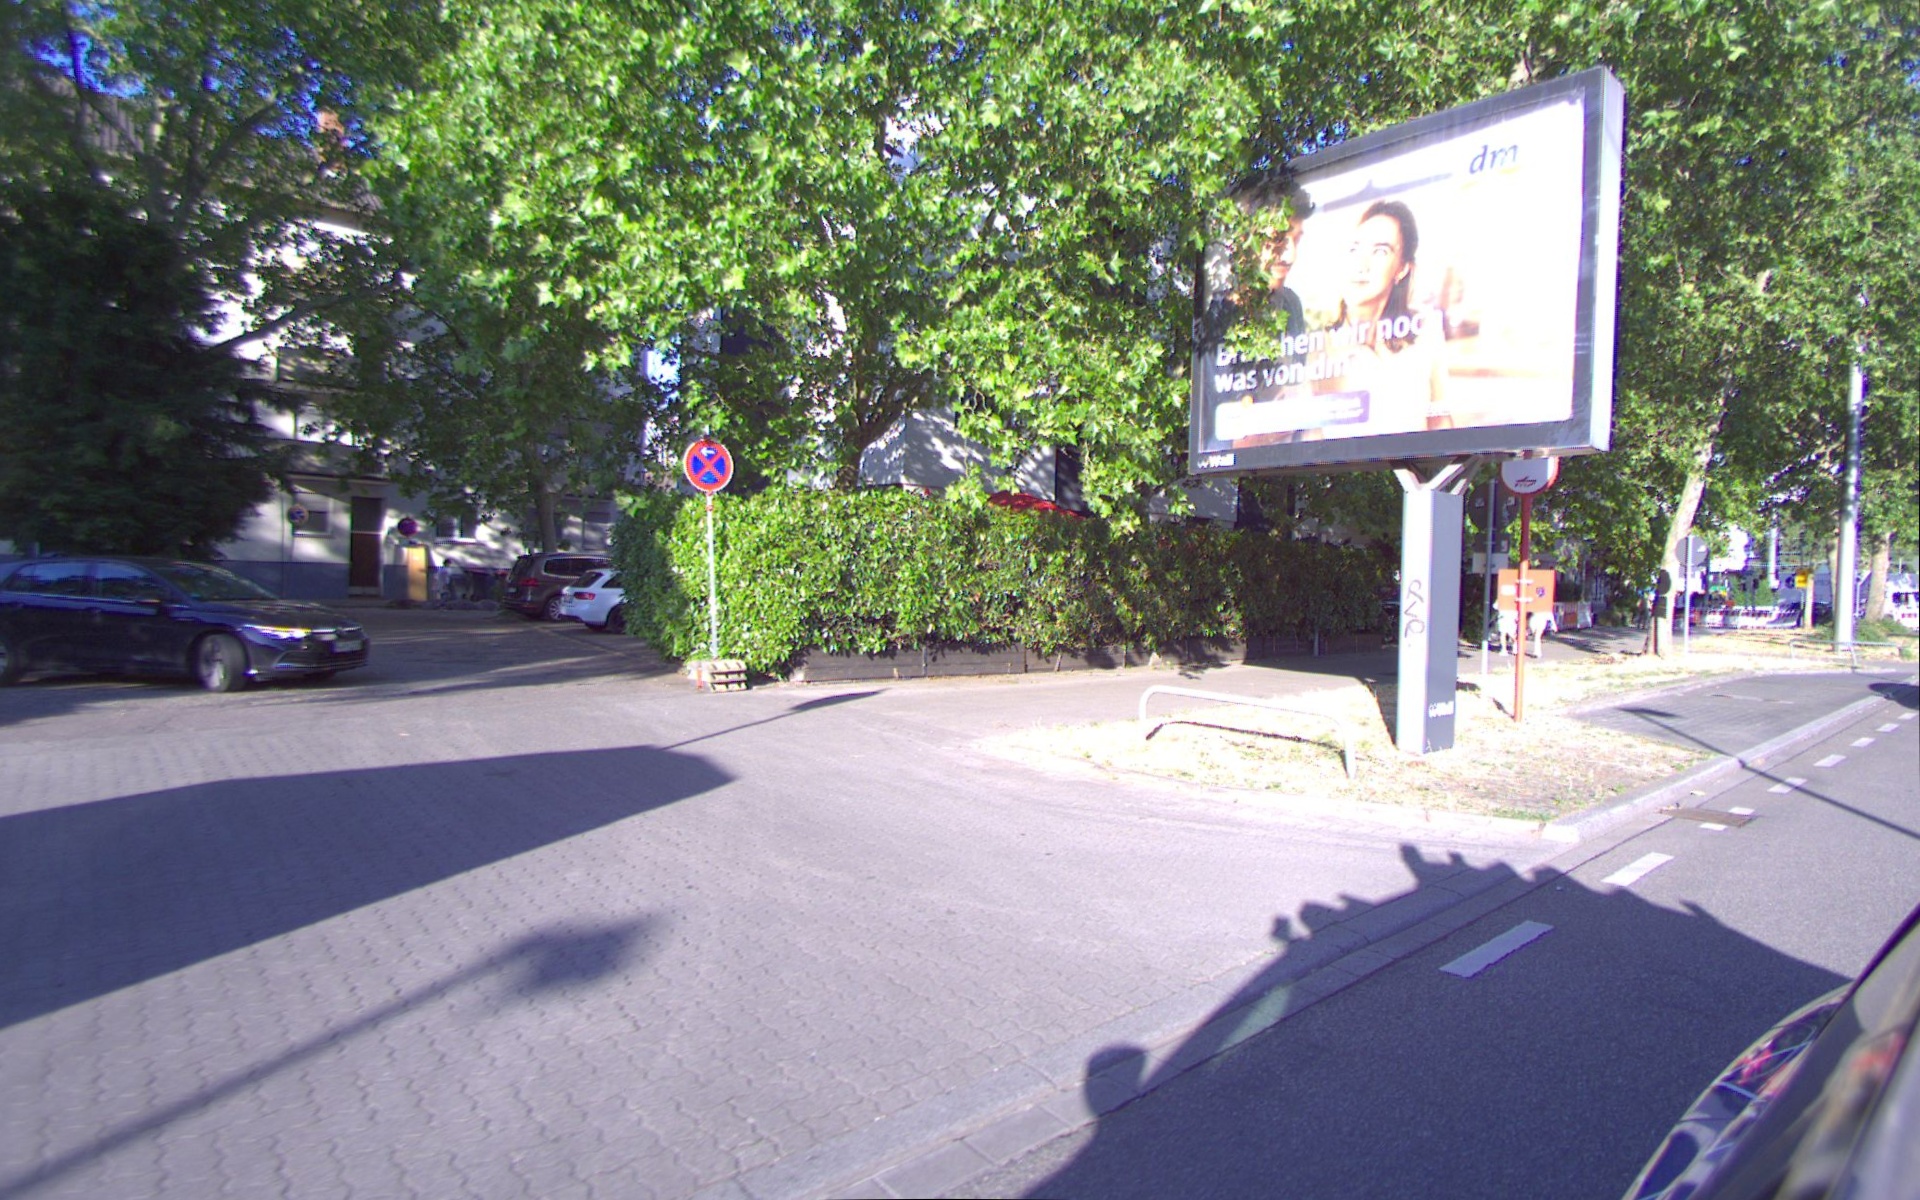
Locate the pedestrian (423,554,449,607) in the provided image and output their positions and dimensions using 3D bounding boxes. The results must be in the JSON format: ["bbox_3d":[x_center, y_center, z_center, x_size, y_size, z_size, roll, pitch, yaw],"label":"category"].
[{"bbox_3d":[-16.092,-0.603,31.075,0.562,1.630,0.586,0,1,-41],"label":"pedestrian"}]

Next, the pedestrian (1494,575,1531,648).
[{"bbox_3d":[13.090,0.264,23.985,0.683,1.689,0.554,0,1,-45],"label":"pedestrian"}]

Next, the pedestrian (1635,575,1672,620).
[{"bbox_3d":[29.672,-0.100,43.276,0.935,1.887,1.062,0,1,-40],"label":"pedestrian"}]

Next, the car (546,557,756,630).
[{"bbox_3d":[-6.881,-0.147,22.590,4.116,1.494,2.002,0,2,-30],"label":"car"}]

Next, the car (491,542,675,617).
[{"bbox_3d":[-9.598,-0.503,25.809,4.116,1.773,2.002,0,2,-30],"label":"car"}]

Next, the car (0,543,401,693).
[{"bbox_3d":[-9.129,0.148,11.737,4.215,1.514,2.000,1,1,2],"label":"car"}]

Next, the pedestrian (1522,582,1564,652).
[{"bbox_3d":[13.421,0.369,23.289,0.753,1.561,0.625,0,1,-45],"label":"pedestrian"}]
